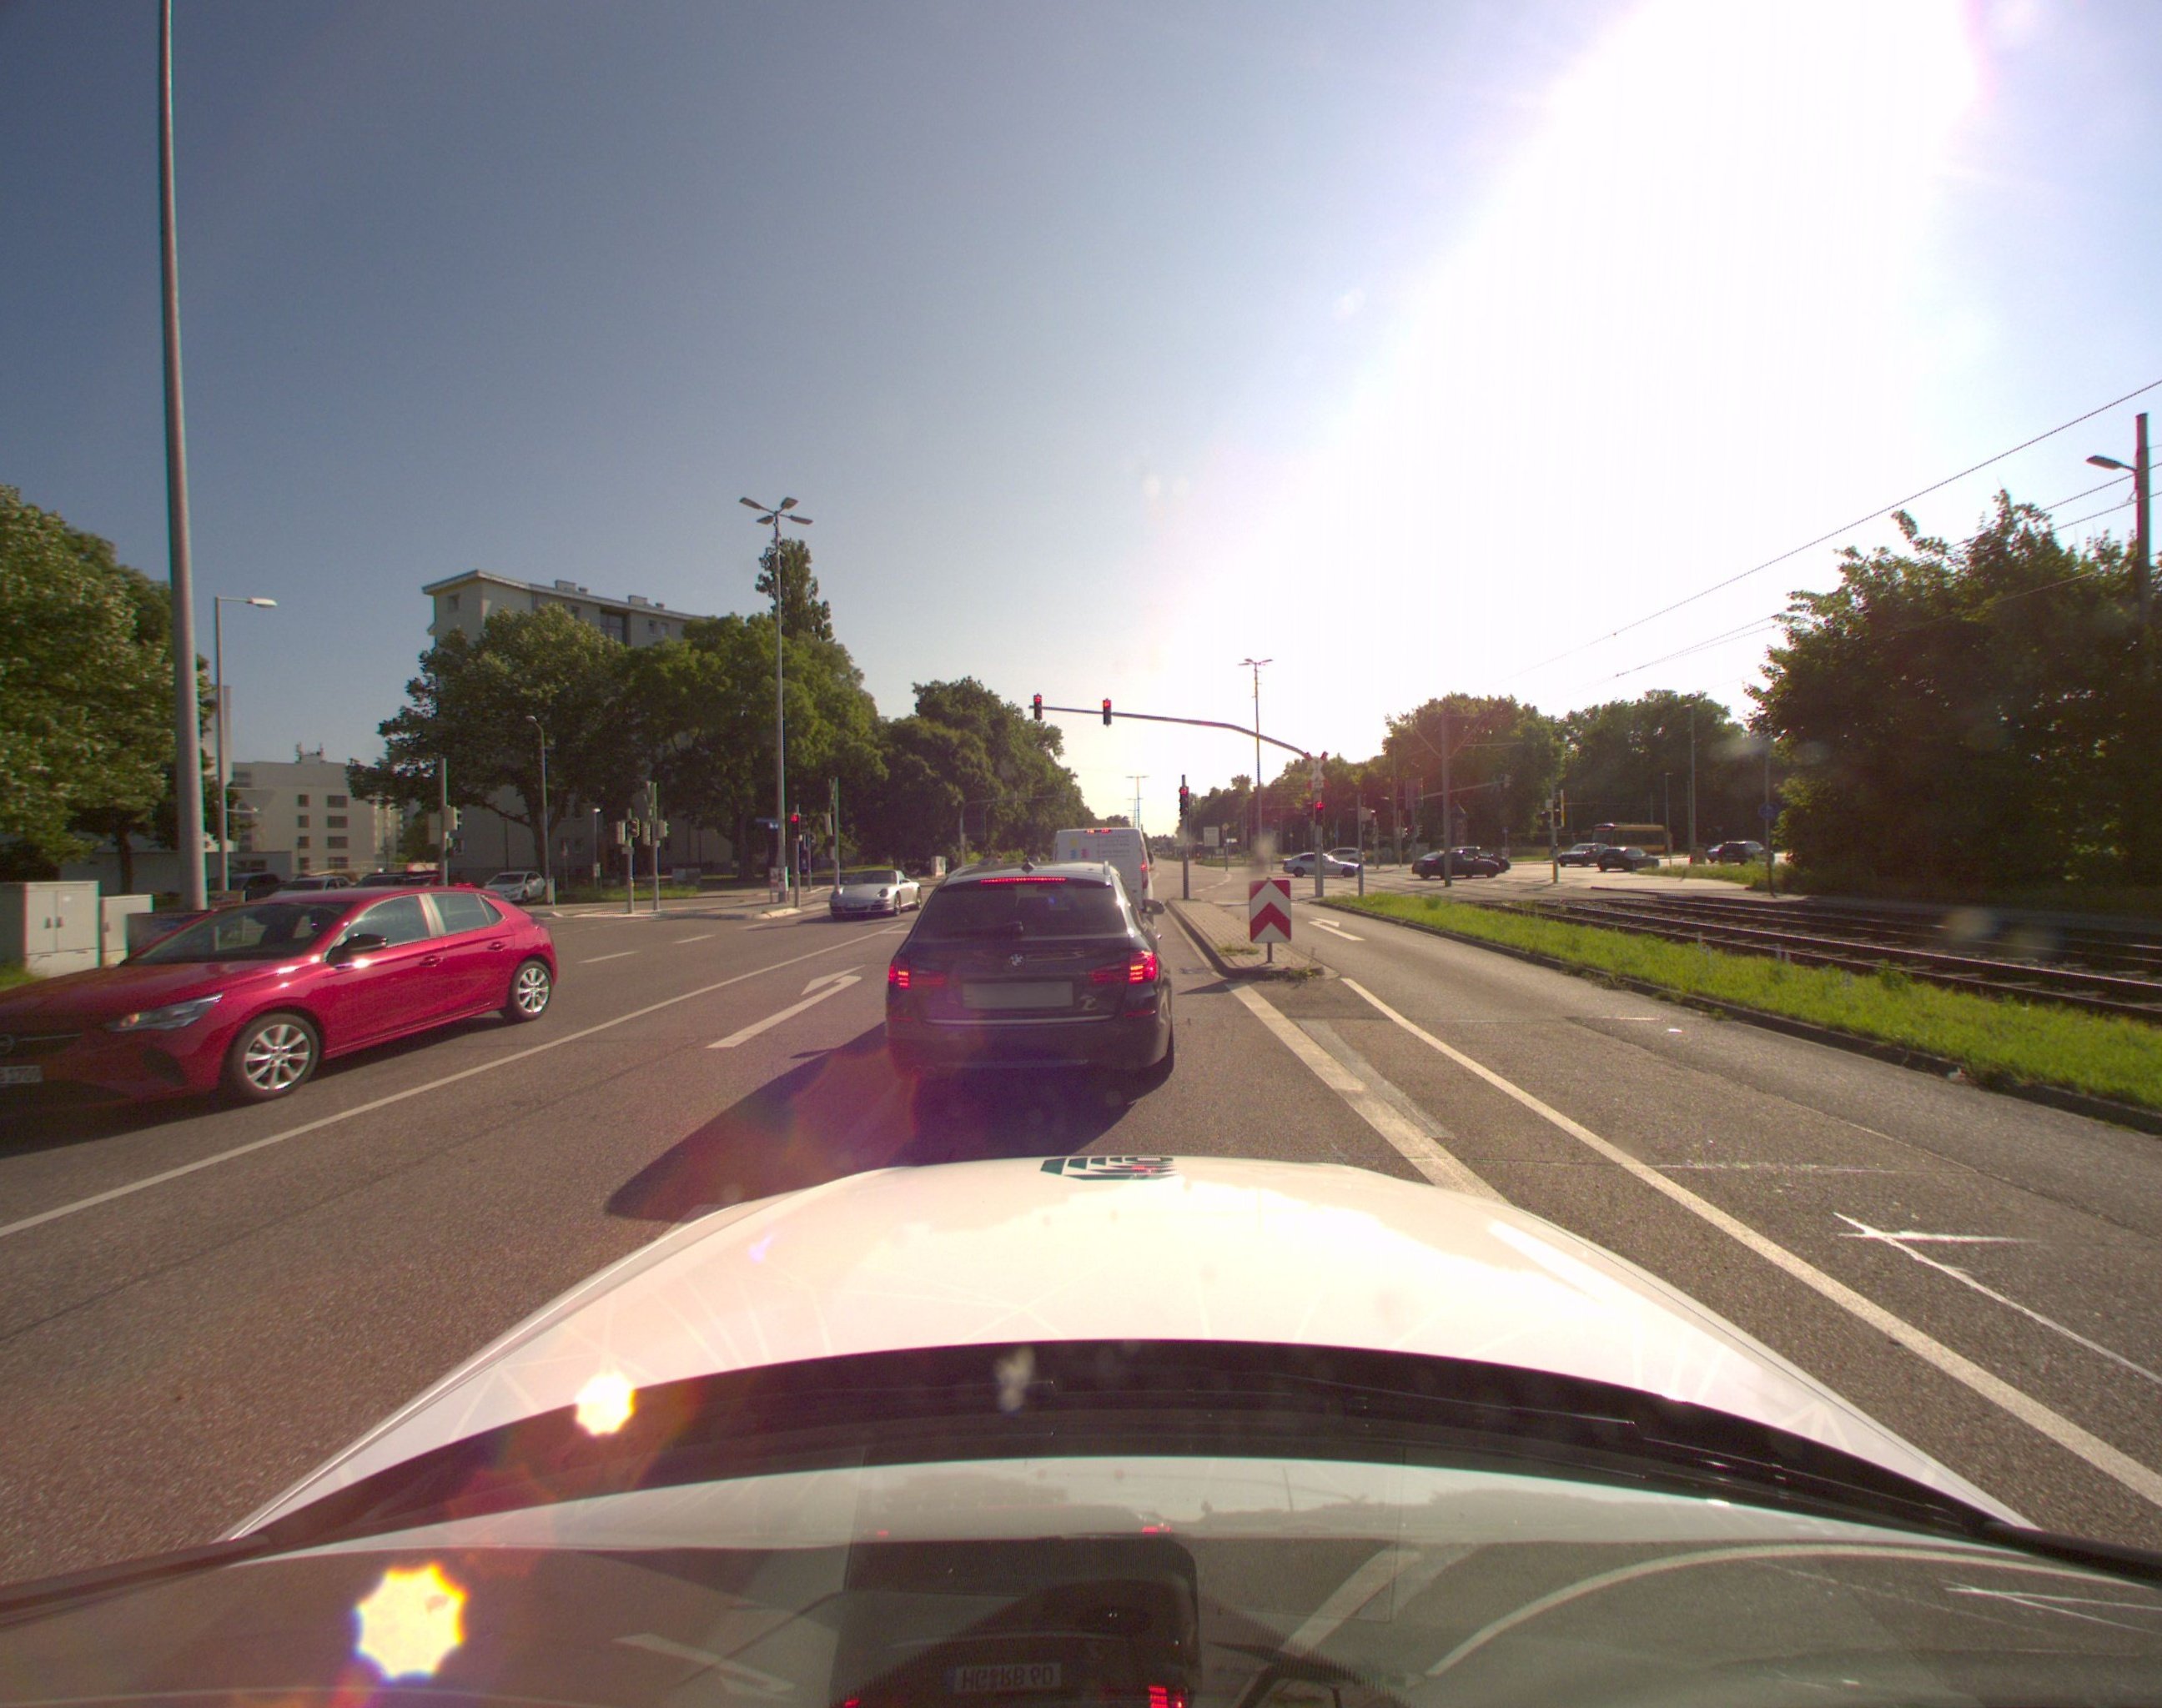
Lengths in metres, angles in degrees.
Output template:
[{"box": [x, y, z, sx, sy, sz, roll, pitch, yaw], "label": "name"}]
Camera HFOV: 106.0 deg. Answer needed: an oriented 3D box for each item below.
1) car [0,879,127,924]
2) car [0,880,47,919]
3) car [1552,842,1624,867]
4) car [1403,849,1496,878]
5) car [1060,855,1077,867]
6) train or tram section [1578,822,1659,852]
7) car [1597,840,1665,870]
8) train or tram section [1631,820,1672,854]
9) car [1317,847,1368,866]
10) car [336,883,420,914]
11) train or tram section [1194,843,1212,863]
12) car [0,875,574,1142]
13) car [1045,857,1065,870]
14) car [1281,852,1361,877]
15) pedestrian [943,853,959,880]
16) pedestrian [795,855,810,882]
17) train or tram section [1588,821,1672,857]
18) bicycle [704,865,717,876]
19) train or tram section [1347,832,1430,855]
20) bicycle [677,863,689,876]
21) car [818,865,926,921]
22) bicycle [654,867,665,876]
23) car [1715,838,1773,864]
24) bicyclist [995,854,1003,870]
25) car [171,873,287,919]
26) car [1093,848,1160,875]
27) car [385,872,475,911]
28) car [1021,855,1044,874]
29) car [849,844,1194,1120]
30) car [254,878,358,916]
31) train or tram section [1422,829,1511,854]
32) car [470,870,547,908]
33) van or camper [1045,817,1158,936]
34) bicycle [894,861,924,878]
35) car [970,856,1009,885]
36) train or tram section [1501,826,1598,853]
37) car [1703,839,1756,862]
[{"box": [-44.368, 2.009, 35.229, 1.785, 1.477, 4.785, -1, 3, -19], "label": "car"}, {"box": [-46.081, 2.015, 33.676, 1.785, 1.476, 4.686, -1, 3, -19], "label": "car"}, {"box": [35.755, 0.021, 57.387, 4.872, 1.562, 2.027, -2, 0, -26], "label": "car"}, {"box": [19.124, 0.485, 42.287, 4.415, 1.354, 1.984, -1, 0, -25], "label": "car"}, {"box": [-1.667, 0.942, 110.165, 1.694, 1.465, 4.374, -3, -2, 5], "label": "car"}, {"box": [69.660, -2.074, 106.061, 3.031, 3.579, 12.241, -1, 0, 3], "label": "train or tram section"}, {"box": [33.367, 0.042, 49.373, 4.654, 1.665, 1.978, -1, 0, -37], "label": "car"}, {"box": [66.102, -1.923, 94.582, 3.015, 3.579, 12.308, -1, 0, 31], "label": "train or tram section"}, {"box": [22.014, 0.236, 68.601, 3.851, 1.486, 1.809, -1, 0, 25], "label": "car"}, {"box": [-32.776, 2.049, 38.096, 1.463, 1.193, 3.767, -1, 0, -15], "label": "car"}, {"box": [22.955, -0.206, 153.420, 2.782, 3.618, 12.976, 0, 0, 6], "label": "train or tram section"}, {"box": [-6.460, 0.996, 6.875, 1.773, 1.477, 3.916, -2, 0, 2], "label": "car"}, {"box": [-2.984, 1.083, 93.196, 1.771, 1.414, 4.250, -1, 0, 5], "label": "car"}, {"box": [14.006, 0.610, 47.557, 4.361, 1.354, 2.009, -1, 0, 16], "label": "car"}, {"box": [-8.745, 0.845, 54.931, 0.811, 1.752, 0.933, -1, 0, 7], "label": "pedestrian"}, {"box": [-17.886, 0.935, 52.303, 0.619, 1.713, 0.707, -1, -1, 14], "label": "pedestrian"}, {"box": [57.998, -1.575, 85.809, 11.898, 3.579, 3.022, -1, 0, -34], "label": "train or tram section"}, {"box": [-31.030, 1.359, 68.239, 0.673, 0.919, 2.382, -1, 0, -33], "label": "bicycle"}, {"box": [50.391, -1.679, 133.850, 12.279, 3.579, 3.073, -1, 0, 33], "label": "train or tram section"}, {"box": [-32.686, 1.278, 66.939, 0.615, 1.066, 1.896, 0, -2, -34], "label": "bicycle"}, {"box": [-5.724, 1.029, 22.825, 1.773, 1.310, 4.288, -1, 0, 2], "label": "car"}, {"box": [-34.310, 1.428, 66.246, 0.587, 0.708, 2.215, -1, 0, -33], "label": "bicycle"}, {"box": [45.288, -0.201, 55.615, 4.654, 1.665, 1.978, -1, 0, -37], "label": "car"}, {"box": [-7.844, 0.772, 77.788, 0.609, 1.560, 0.599, 0, 0, -18], "label": "bicyclist"}, {"box": [-38.062, 1.824, 36.529, 1.783, 1.811, 3.977, -1, 0, -16], "label": "car"}, {"box": [3.114, 0.508, 55.957, 4.564, 1.722, 1.659, -2, -1, 44], "label": "car"}, {"box": [-30.864, 1.740, 38.779, 1.782, 1.415, 3.982, -1, 4, -14], "label": "car"}, {"box": [-4.284, 0.901, 72.373, 1.627, 1.560, 3.678, -3, 0, 2], "label": "car"}, {"box": [-0.262, 0.714, 6.575, 1.896, 1.506, 4.067, -1, 0, 2], "label": "car"}, {"box": [-35.416, 1.929, 37.363, 1.783, 1.521, 3.977, -1, 0, -16], "label": "car"}, {"box": [60.001, -1.851, 126.956, 12.072, 3.579, 3.073, -1, 0, 38], "label": "train or tram section"}, {"box": [-27.883, 1.685, 39.835, 1.783, 1.439, 3.980, -1, 3, -15], "label": "car"}, {"box": [0.504, 0.394, 16.888, 1.985, 2.096, 4.602, -1, 0, 3], "label": "van or camper"}, {"box": [-11.637, 1.046, 55.091, 1.902, 1.119, 0.632, -1, 0, 1], "label": "bicycle"}, {"box": [-5.190, 0.905, 46.631, 1.688, 1.498, 3.677, -2, 0, 1], "label": "car"}, {"box": [67.337, -1.988, 117.568, 3.064, 3.579, 12.108, -1, 0, -31], "label": "train or tram section"}, {"box": [49.005, -0.252, 61.486, 4.654, 1.665, 1.978, -1, 0, -37], "label": "car"}]
